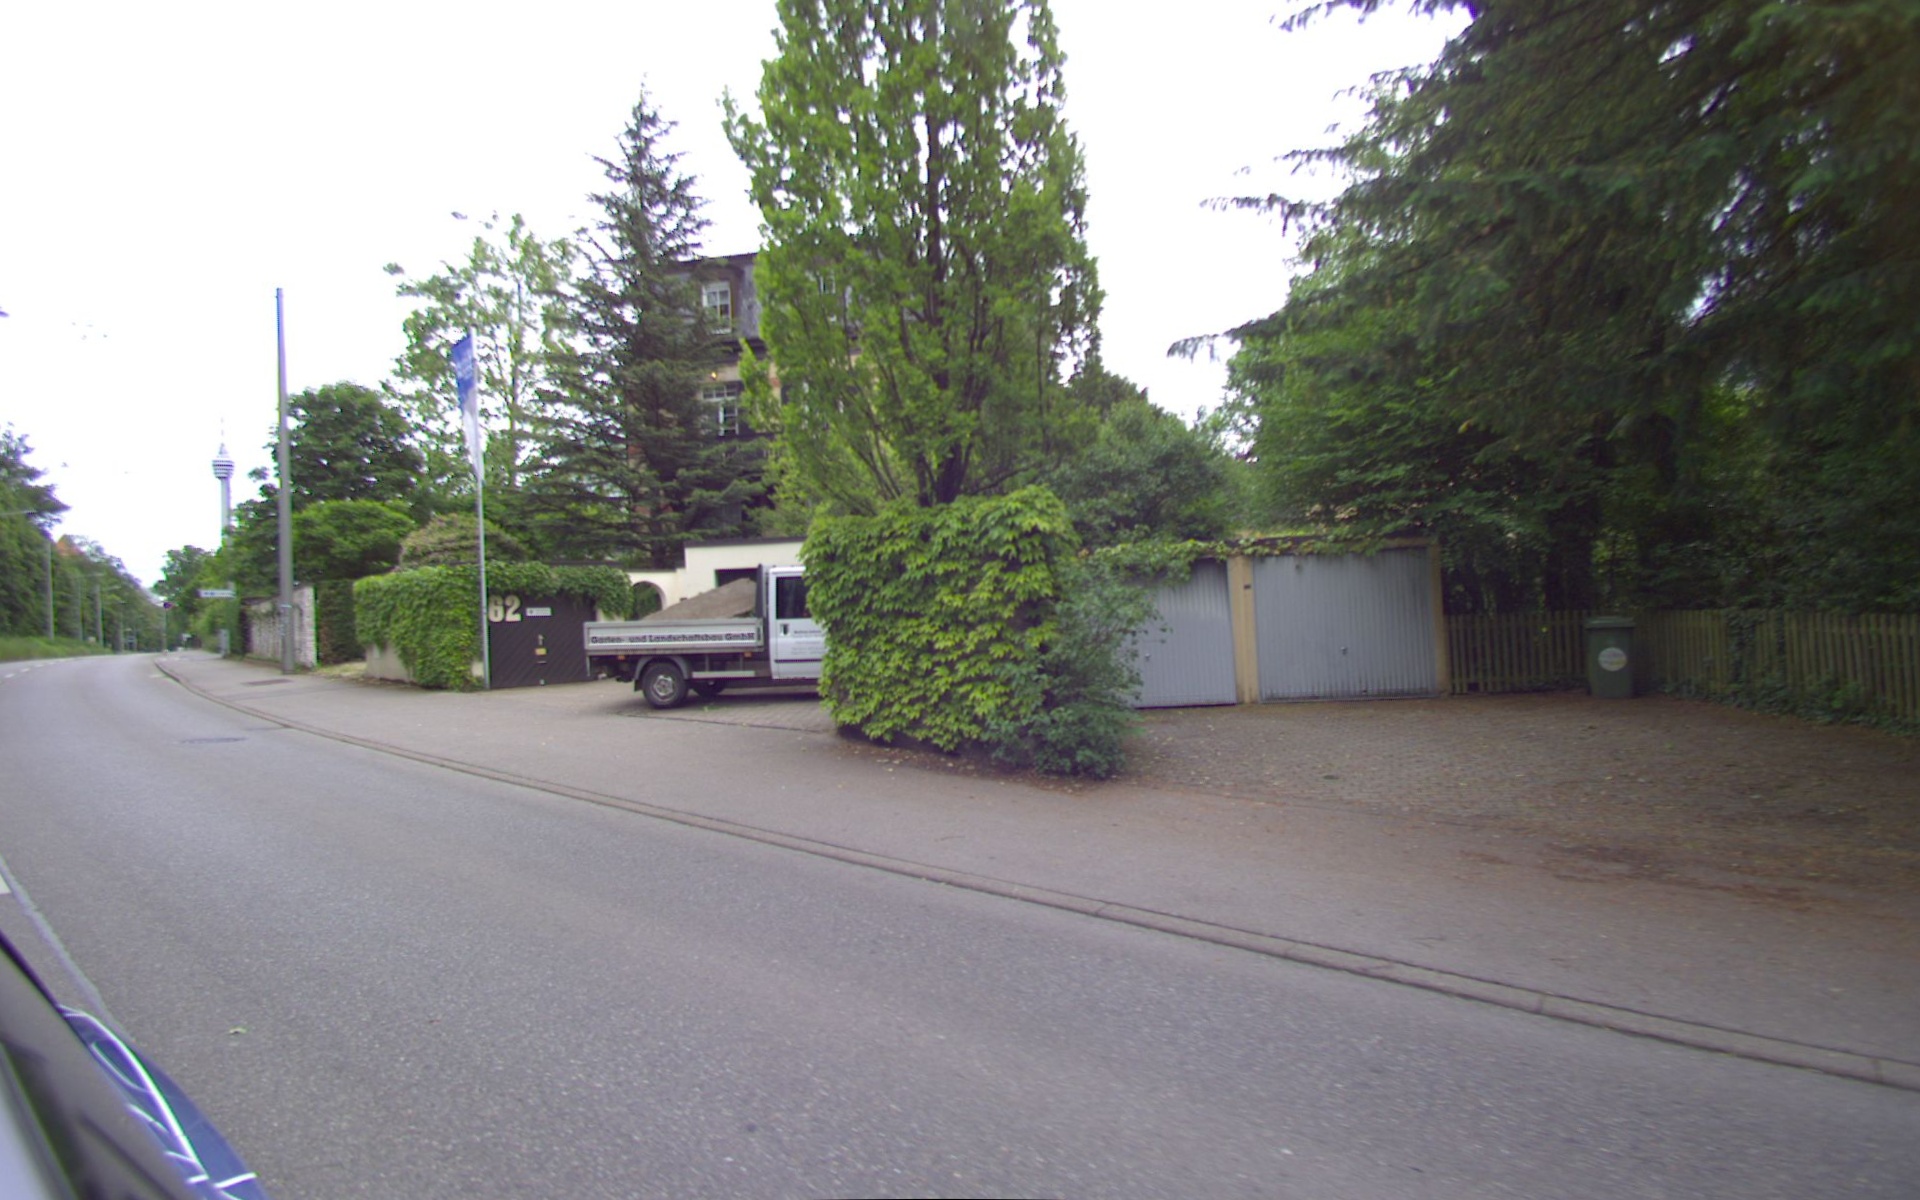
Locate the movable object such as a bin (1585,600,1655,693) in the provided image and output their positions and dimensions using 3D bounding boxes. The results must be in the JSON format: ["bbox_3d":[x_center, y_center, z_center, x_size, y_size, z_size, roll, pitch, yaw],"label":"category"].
[{"bbox_3d":[8.640,0.591,13.275,0.705,1.150,0.809,-2,1,31],"label":"movable object such as a bin"}]

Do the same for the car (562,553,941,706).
[{"bbox_3d":[-3.139,0.463,15.900,5.301,2.088,2.419,-2,0,10],"label":"car"}]
